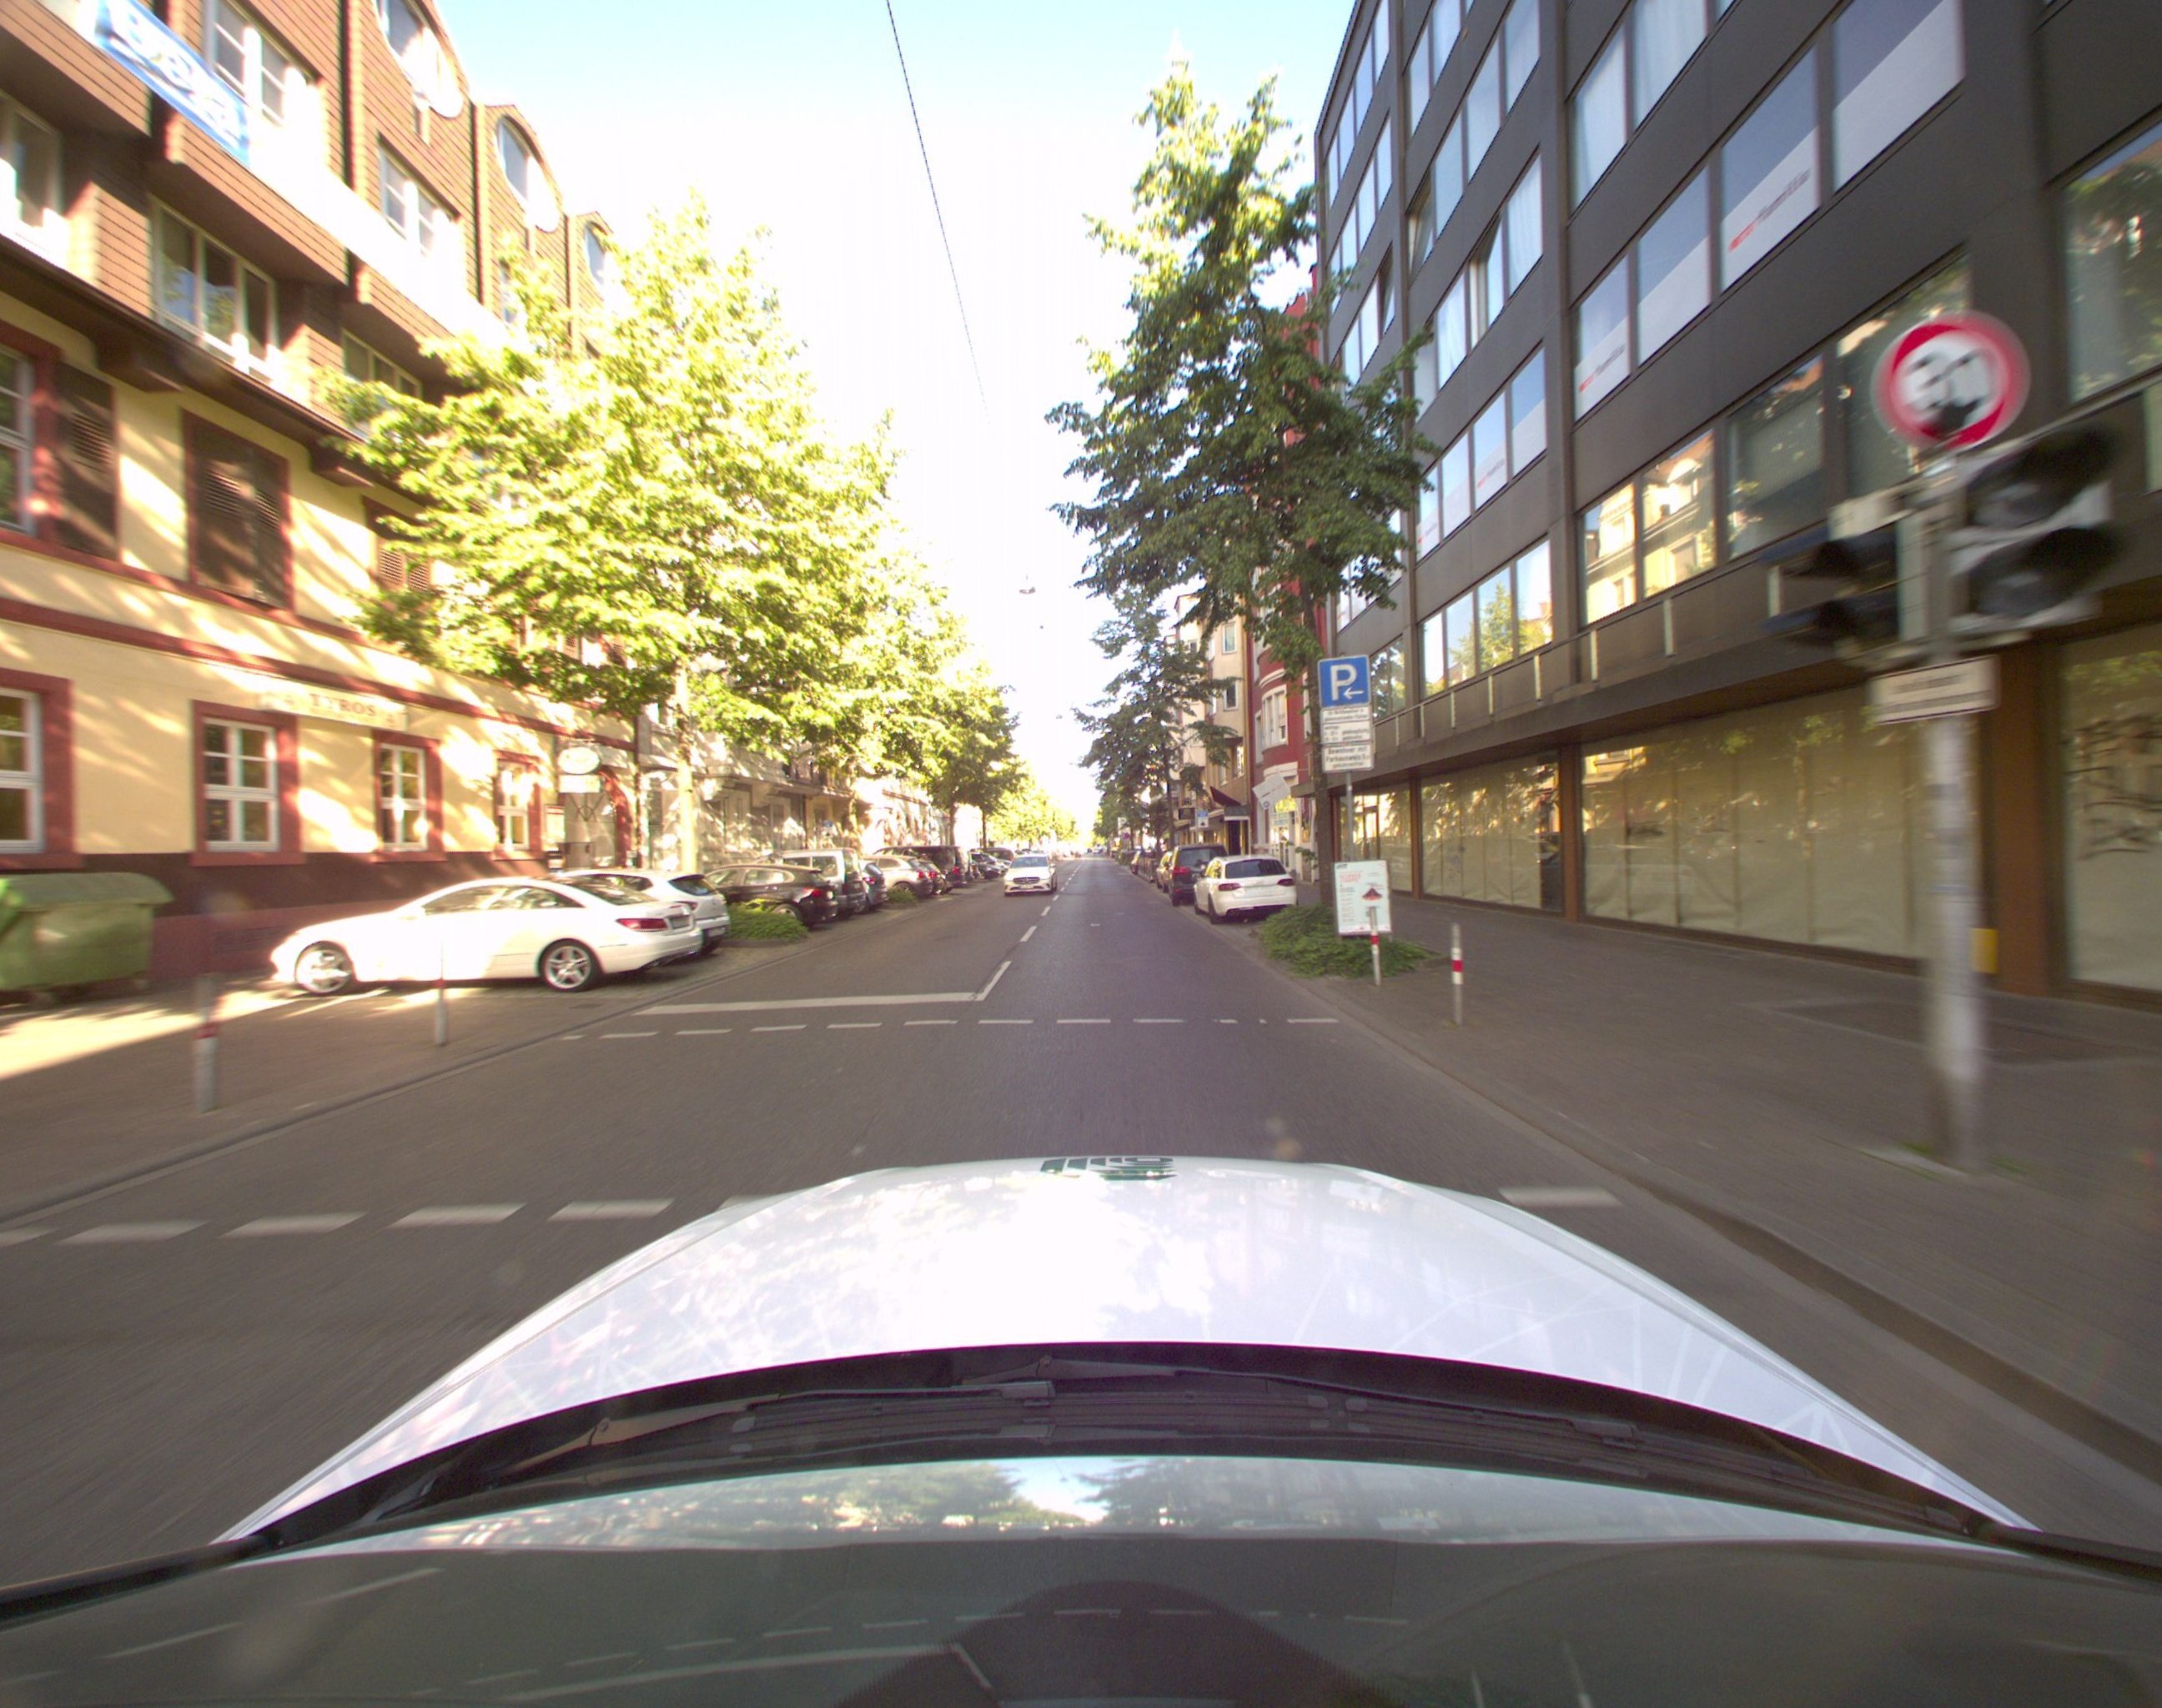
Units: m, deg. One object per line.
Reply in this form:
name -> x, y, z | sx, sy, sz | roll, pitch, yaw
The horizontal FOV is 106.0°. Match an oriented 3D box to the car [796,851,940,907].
car -> -7.142, 0.818, 27.652 | 4.327, 1.733, 1.915 | -1, 0, -2

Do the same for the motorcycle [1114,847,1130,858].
motorcycle -> 5.504, -0.235, 109.642 | 1.979, 1.330, 0.908 | -2, 1, -12

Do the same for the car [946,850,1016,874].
car -> -6.819, 0.548, 55.800 | 4.446, 1.541, 1.919 | -1, 0, 4

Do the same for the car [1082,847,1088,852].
car -> 1.109, -1.379, 236.361 | 1.797, 1.435, 4.409 | -4, 0, 0

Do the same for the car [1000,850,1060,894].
car -> -1.901, 0.659, 31.705 | 1.903, 1.544, 4.355 | -1, 0, 2

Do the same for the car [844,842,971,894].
car -> -6.886, 0.552, 32.651 | 4.554, 1.926, 1.932 | -1, 0, 3

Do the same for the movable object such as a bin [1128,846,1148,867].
movable object such as a bin -> 4.222, 0.180, 60.611 | 1.394, 1.453, 1.146 | -2, 0, 1

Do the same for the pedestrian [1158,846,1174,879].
pedestrian -> 4.151, 0.400, 39.719 | 0.690, 1.536, 0.777 | -2, 0, 2

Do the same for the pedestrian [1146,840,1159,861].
pedestrian -> 6.608, -0.315, 75.009 | 0.916, 1.935, 0.765 | -2, 0, 26

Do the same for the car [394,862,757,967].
car -> -8.019, 0.919, 13.229 | 4.677, 1.492, 2.003 | 0, 1, 4

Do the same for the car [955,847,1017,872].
car -> -7.245, 0.391, 62.502 | 4.449, 1.772, 1.918 | -1, 0, 2

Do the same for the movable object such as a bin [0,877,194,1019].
movable object such as a bin -> -11.477, 1.020, 9.304 | 1.128, 1.444, 1.383 | -1, 0, 4

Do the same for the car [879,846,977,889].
car -> -7.058, 0.600, 37.943 | 4.338, 1.834, 1.910 | -1, 0, -9

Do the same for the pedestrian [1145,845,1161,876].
pedestrian -> 3.716, 0.328, 42.137 | 0.648, 1.536, 0.980 | -2, 0, -1

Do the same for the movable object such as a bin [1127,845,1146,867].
movable object such as a bin -> 4.193, 0.136, 61.775 | 1.326, 1.542, 1.146 | -2, 0, 1

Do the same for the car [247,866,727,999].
car -> -7.422, 0.928, 10.656 | 4.690, 1.492, 1.997 | -1, -1, -4

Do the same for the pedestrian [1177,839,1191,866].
pedestrian -> 6.448, -0.080, 50.932 | 0.506, 1.695, 0.623 | -2, 0, -36

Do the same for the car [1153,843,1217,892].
car -> 3.923, 0.460, 31.462 | 1.816, 1.596, 4.843 | -4, 0, 1

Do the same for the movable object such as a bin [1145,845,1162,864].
movable object such as a bin -> 5.494, 0.037, 61.773 | 1.073, 1.431, 1.295 | -2, 0, 1

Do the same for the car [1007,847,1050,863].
car -> -5.944, 0.061, 92.733 | 4.662, 1.693, 1.809 | -1, 0, 2

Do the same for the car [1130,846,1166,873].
car -> 4.138, 0.294, 50.887 | 1.816, 1.472, 4.912 | -4, 0, 1

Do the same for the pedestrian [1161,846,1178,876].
pedestrian -> 4.562, 0.350, 42.106 | 0.706, 1.536, 0.773 | -2, 0, 15

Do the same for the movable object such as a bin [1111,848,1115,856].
movable object such as a bin -> 5.331, -0.336, 137.099 | 0.620, 1.179, 0.711 | -2, 1, -2

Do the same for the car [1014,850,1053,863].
car -> -5.831, 0.320, 100.529 | 4.669, 1.465, 1.806 | -1, 0, -3

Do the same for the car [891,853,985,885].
car -> -7.106, 0.753, 40.743 | 4.327, 1.439, 1.916 | -1, 0, -2

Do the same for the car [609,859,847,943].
car -> -7.463, 0.949, 17.682 | 4.341, 1.544, 1.957 | -2, 0, -11

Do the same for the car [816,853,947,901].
car -> -7.279, 0.811, 30.074 | 4.327, 1.595, 1.915 | -1, 0, -2

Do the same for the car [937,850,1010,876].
car -> -6.958, 0.578, 53.044 | 4.452, 1.541, 1.916 | -1, 0, 0

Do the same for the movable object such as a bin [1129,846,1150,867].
movable object such as a bin -> 4.271, 0.176, 59.432 | 1.394, 1.453, 1.146 | -2, 0, 1

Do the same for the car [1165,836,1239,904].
car -> 3.618, 0.416, 25.098 | 1.814, 1.777, 4.937 | -4, 0, 4

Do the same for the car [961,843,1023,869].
car -> -7.080, 0.176, 65.266 | 4.662, 1.950, 1.918 | -1, 0, 2

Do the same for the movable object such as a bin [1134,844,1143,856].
movable object such as a bin -> 8.272, -0.549, 117.397 | 1.202, 1.627, 1.498 | -3, 0, -1

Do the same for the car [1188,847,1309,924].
car -> 3.658, 0.613, 18.668 | 1.815, 1.402, 4.843 | -4, 0, 1

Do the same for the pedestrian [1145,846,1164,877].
pedestrian -> 3.691, 0.369, 40.838 | 0.744, 1.536, 0.811 | -2, 0, 15

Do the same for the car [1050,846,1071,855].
car -> -4.303, -0.804, 170.978 | 3.968, 1.694, 2.003 | -2, 1, 5

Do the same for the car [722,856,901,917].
car -> -7.537, 0.900, 23.029 | 4.319, 1.544, 1.919 | -1, 0, 5

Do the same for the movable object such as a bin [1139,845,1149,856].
movable object such as a bin -> 8.955, -0.507, 116.025 | 1.267, 1.530, 1.176 | -3, 0, -1

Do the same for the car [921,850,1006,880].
car -> -6.597, 0.625, 46.090 | 4.448, 1.541, 1.918 | -1, 0, 2

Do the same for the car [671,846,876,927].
car -> -7.600, 0.766, 20.405 | 4.322, 1.824, 1.931 | -1, 0, 2

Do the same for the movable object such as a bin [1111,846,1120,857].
movable object such as a bin -> 5.060, -0.387, 119.981 | 1.136, 1.562, 1.463 | -3, 0, 9

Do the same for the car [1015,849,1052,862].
car -> -5.988, 0.174, 103.274 | 4.669, 1.465, 1.806 | -1, 0, -3

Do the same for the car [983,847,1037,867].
car -> -6.455, 0.288, 74.124 | 4.662, 1.712, 1.809 | -1, 0, 2

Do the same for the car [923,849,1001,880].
car -> -7.058, 0.631, 48.580 | 4.325, 1.709, 1.917 | -1, 0, 0

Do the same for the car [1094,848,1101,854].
car -> 4.379, -0.888, 221.044 | 1.786, 1.411, 4.001 | -2, 1, 1

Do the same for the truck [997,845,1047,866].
truck -> -6.264, 0.138, 87.280 | 5.068, 1.938, 2.000 | -3, 0, 0

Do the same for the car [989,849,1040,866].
car -> -6.484, 0.317, 79.747 | 4.662, 1.572, 1.809 | -1, 0, 2

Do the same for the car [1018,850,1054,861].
car -> -5.980, 0.197, 108.500 | 4.669, 1.412, 1.806 | -1, 0, -3
